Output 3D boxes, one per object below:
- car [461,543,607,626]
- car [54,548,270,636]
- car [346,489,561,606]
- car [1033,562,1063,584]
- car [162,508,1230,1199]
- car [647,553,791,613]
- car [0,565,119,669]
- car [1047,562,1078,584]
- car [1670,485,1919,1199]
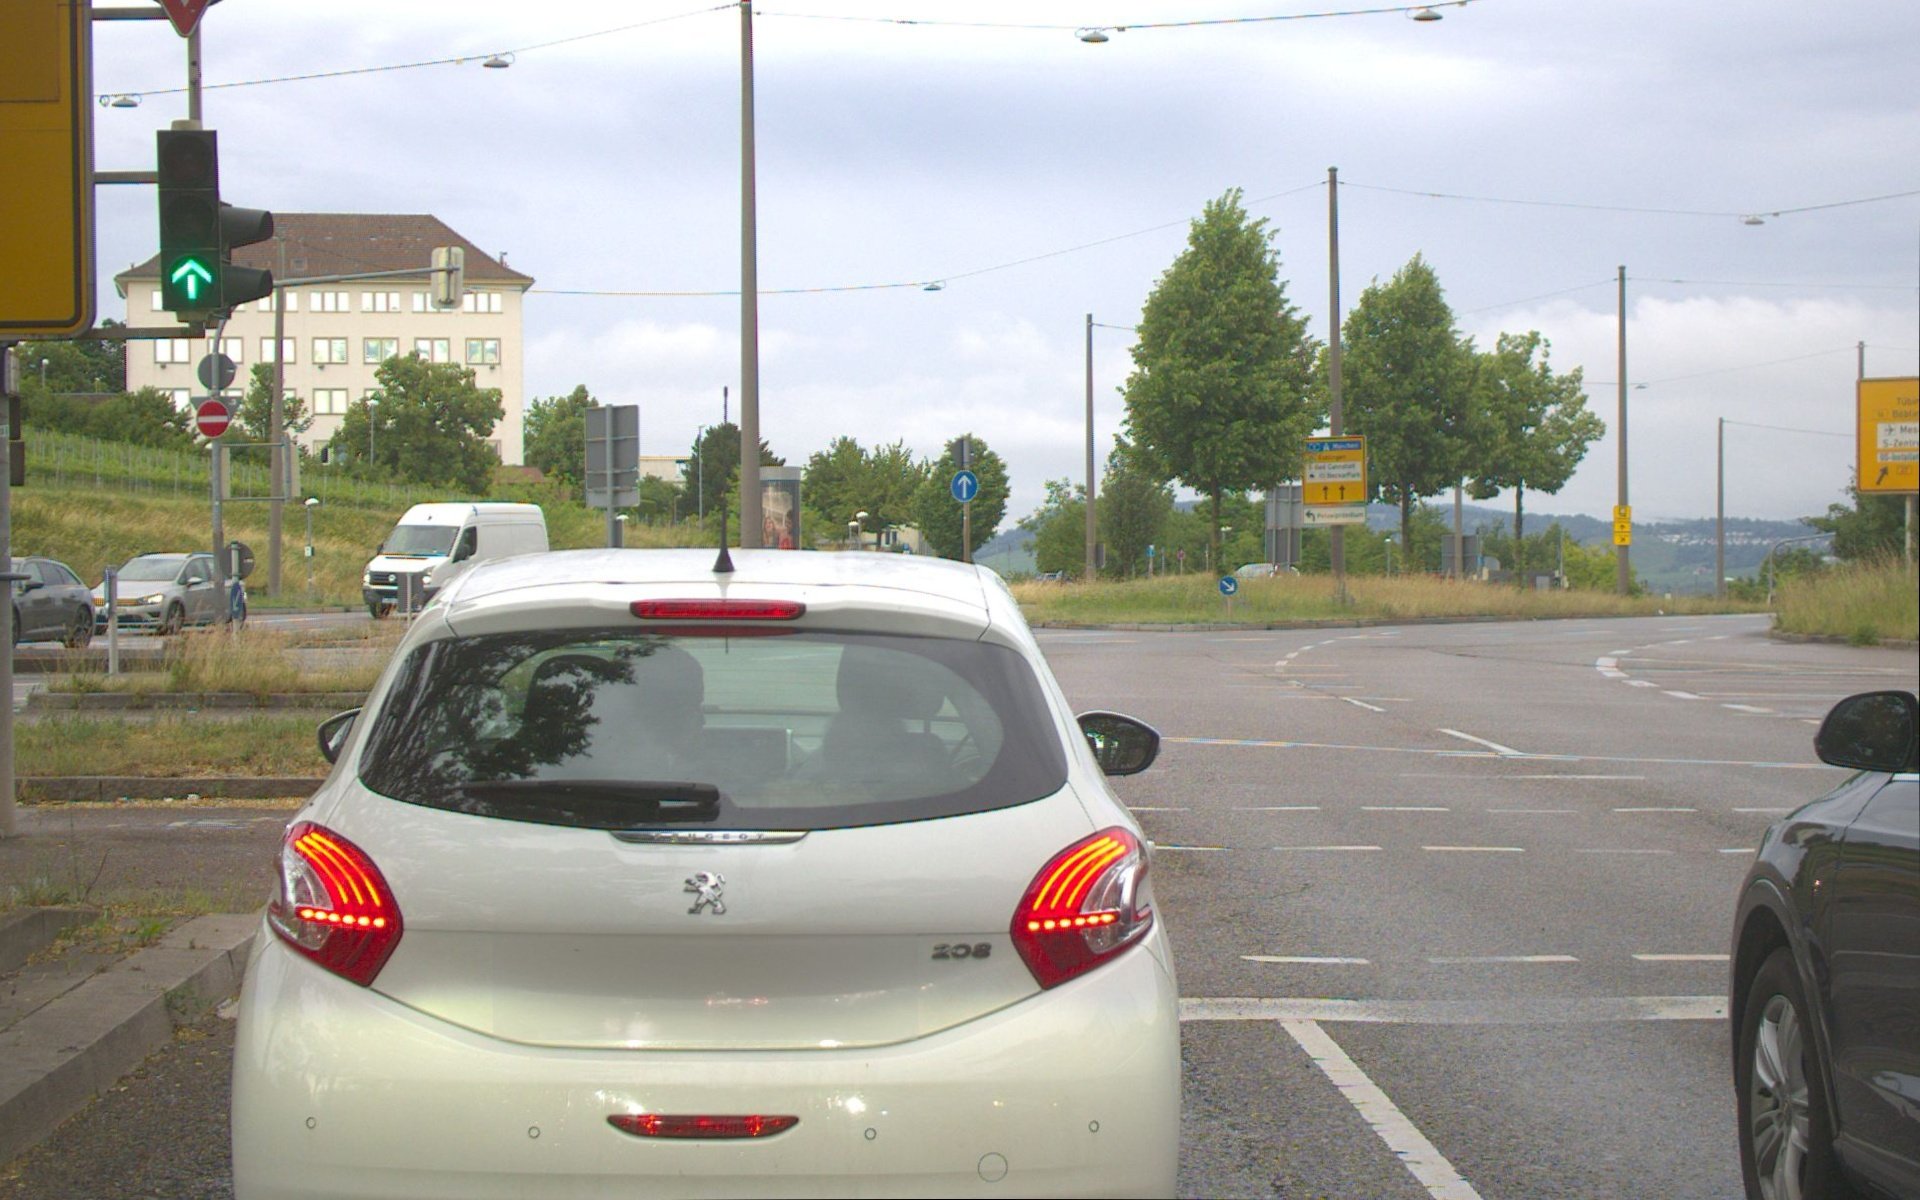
[{"bbox_3d":[-7.603,-0.287,61.784,1.776,1.420,4.373,-1,0,4],"label":"car"},{"bbox_3d":[-15.303,-0.146,66.102,1.996,1.570,4.190,2,0,21],"label":"car"},{"bbox_3d":[-11.593,-1.170,79.185,1.996,2.550,6.162,2,0,22],"label":"car"},{"bbox_3d":[6.273,-1.921,244.829,1.841,1.481,4.001,0,1,-3],"label":"car"},{"bbox_3d":[-0.482,0.583,7.574,1.717,1.484,4.000,1,0,-2],"label":"car"},{"bbox_3d":[-6.406,-0.454,91.855,1.996,1.507,4.226,2,0,25],"label":"car"},{"bbox_3d":[-14.515,0.223,51.788,1.902,1.484,4.891,1,0,8],"label":"car"},{"bbox_3d":[7.037,-1.834,236.451,1.841,1.481,4.001,0,1,-3],"label":"car"},{"bbox_3d":[2.587,0.626,5.594,1.884,1.590,4.114,2,0,-1],"label":"car"}]
